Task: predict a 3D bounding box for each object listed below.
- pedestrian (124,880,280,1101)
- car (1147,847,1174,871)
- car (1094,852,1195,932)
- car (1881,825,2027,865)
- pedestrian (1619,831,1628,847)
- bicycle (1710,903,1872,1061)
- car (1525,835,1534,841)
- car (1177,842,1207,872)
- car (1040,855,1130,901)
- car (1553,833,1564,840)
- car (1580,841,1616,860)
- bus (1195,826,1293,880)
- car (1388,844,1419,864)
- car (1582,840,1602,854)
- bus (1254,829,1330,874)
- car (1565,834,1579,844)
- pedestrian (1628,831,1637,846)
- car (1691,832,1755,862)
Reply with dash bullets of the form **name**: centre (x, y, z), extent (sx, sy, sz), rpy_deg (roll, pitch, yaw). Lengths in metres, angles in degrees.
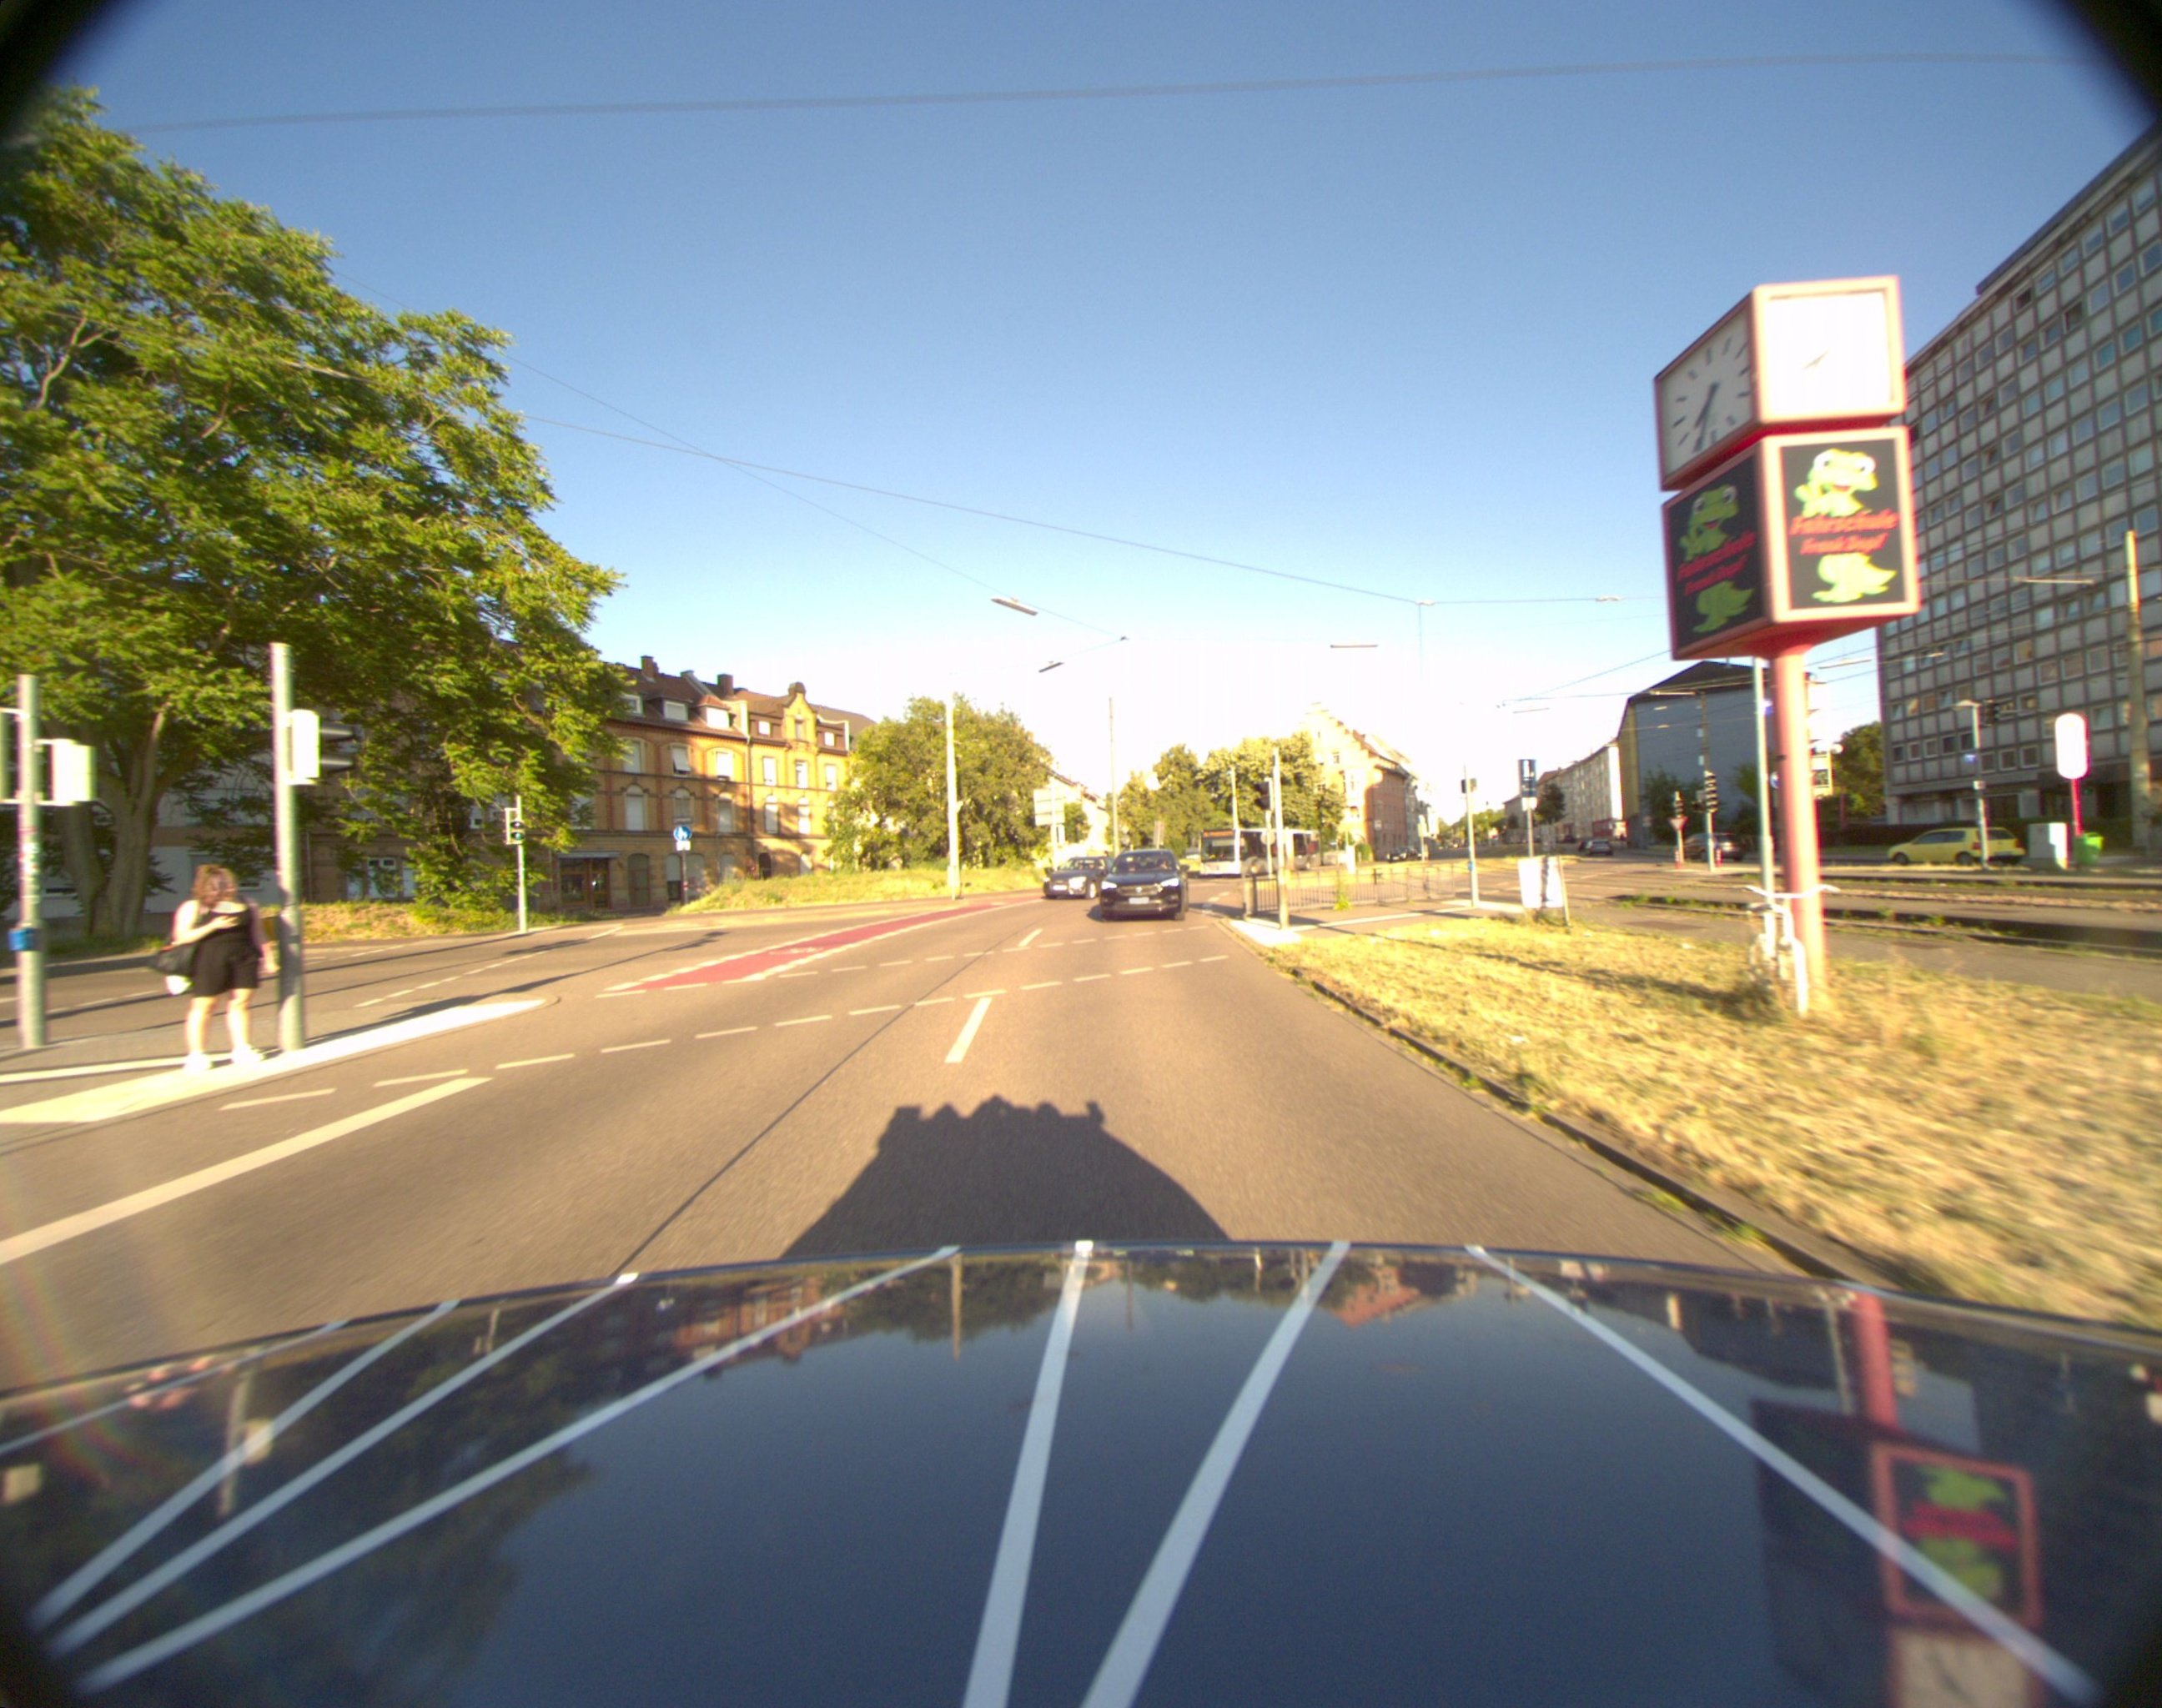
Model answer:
- **pedestrian**: centre (-6.853, 1.021, 5.942), extent (0.436, 1.603, 0.631), rpy_deg (-2, 1, 20)
- **car**: centre (7.728, 0.517, 74.231), extent (2.042, 2.201, 5.415), rpy_deg (-3, 0, 0)
- **car**: centre (1.630, 0.804, 18.084), extent (1.786, 1.614, 4.220), rpy_deg (-2, 0, 13)
- **car**: centre (32.689, -0.319, 28.606), extent (1.548, 1.332, 3.595), rpy_deg (-3, 0, 6)
- **pedestrian**: centre (61.904, -1.719, 86.641), extent (0.593, 1.762, 0.887), rpy_deg (-8, -3, 32)
- **bicycle**: centre (5.432, 0.904, 5.912), extent (0.553, 0.912, 1.746), rpy_deg (-1, 1, 31)
- **car**: centre (115.210, -4.116, 195.102), extent (1.794, 1.461, 4.803), rpy_deg (-1, 2, 29)
- **car**: centre (10.848, 0.300, 74.644), extent (2.042, 2.650, 6.215), rpy_deg (-3, 0, 0)
- **car**: centre (0.246, 0.841, 28.624), extent (1.768, 1.578, 4.075), rpy_deg (-1, 0, 26)
- **car**: centre (96.321, -3.558, 153.404), extent (1.698, 1.451, 4.323), rpy_deg (-1, 1, 30)
- **car**: centre (46.276, -0.320, 68.126), extent (1.653, 1.586, 4.593), rpy_deg (-3, 0, 21)
- **bus**: centre (10.608, -0.082, 48.285), extent (2.726, 3.059, 10.621), rpy_deg (-2, 0, 31)
- **car**: centre (31.220, -0.036, 73.500), extent (1.995, 1.761, 4.008), rpy_deg (-2, 0, 34)
- **car**: centre (60.616, -0.886, 90.168), extent (1.777, 1.473, 4.407), rpy_deg (-2, 1, 33)
- **bus**: centre (16.134, -0.207, 57.456), extent (2.707, 3.059, 10.621), rpy_deg (-2, 0, 31)
- **car**: centre (88.506, -2.679, 136.933), extent (1.919, 1.652, 4.718), rpy_deg (-2, 0, 31)
- **pedestrian**: centre (62.820, -1.769, 86.597), extent (0.617, 1.684, 0.707), rpy_deg (-8, -3, 32)
- **car**: centre (36.225, -0.414, 42.955), extent (1.582, 1.586, 4.159), rpy_deg (-2, 0, 23)
